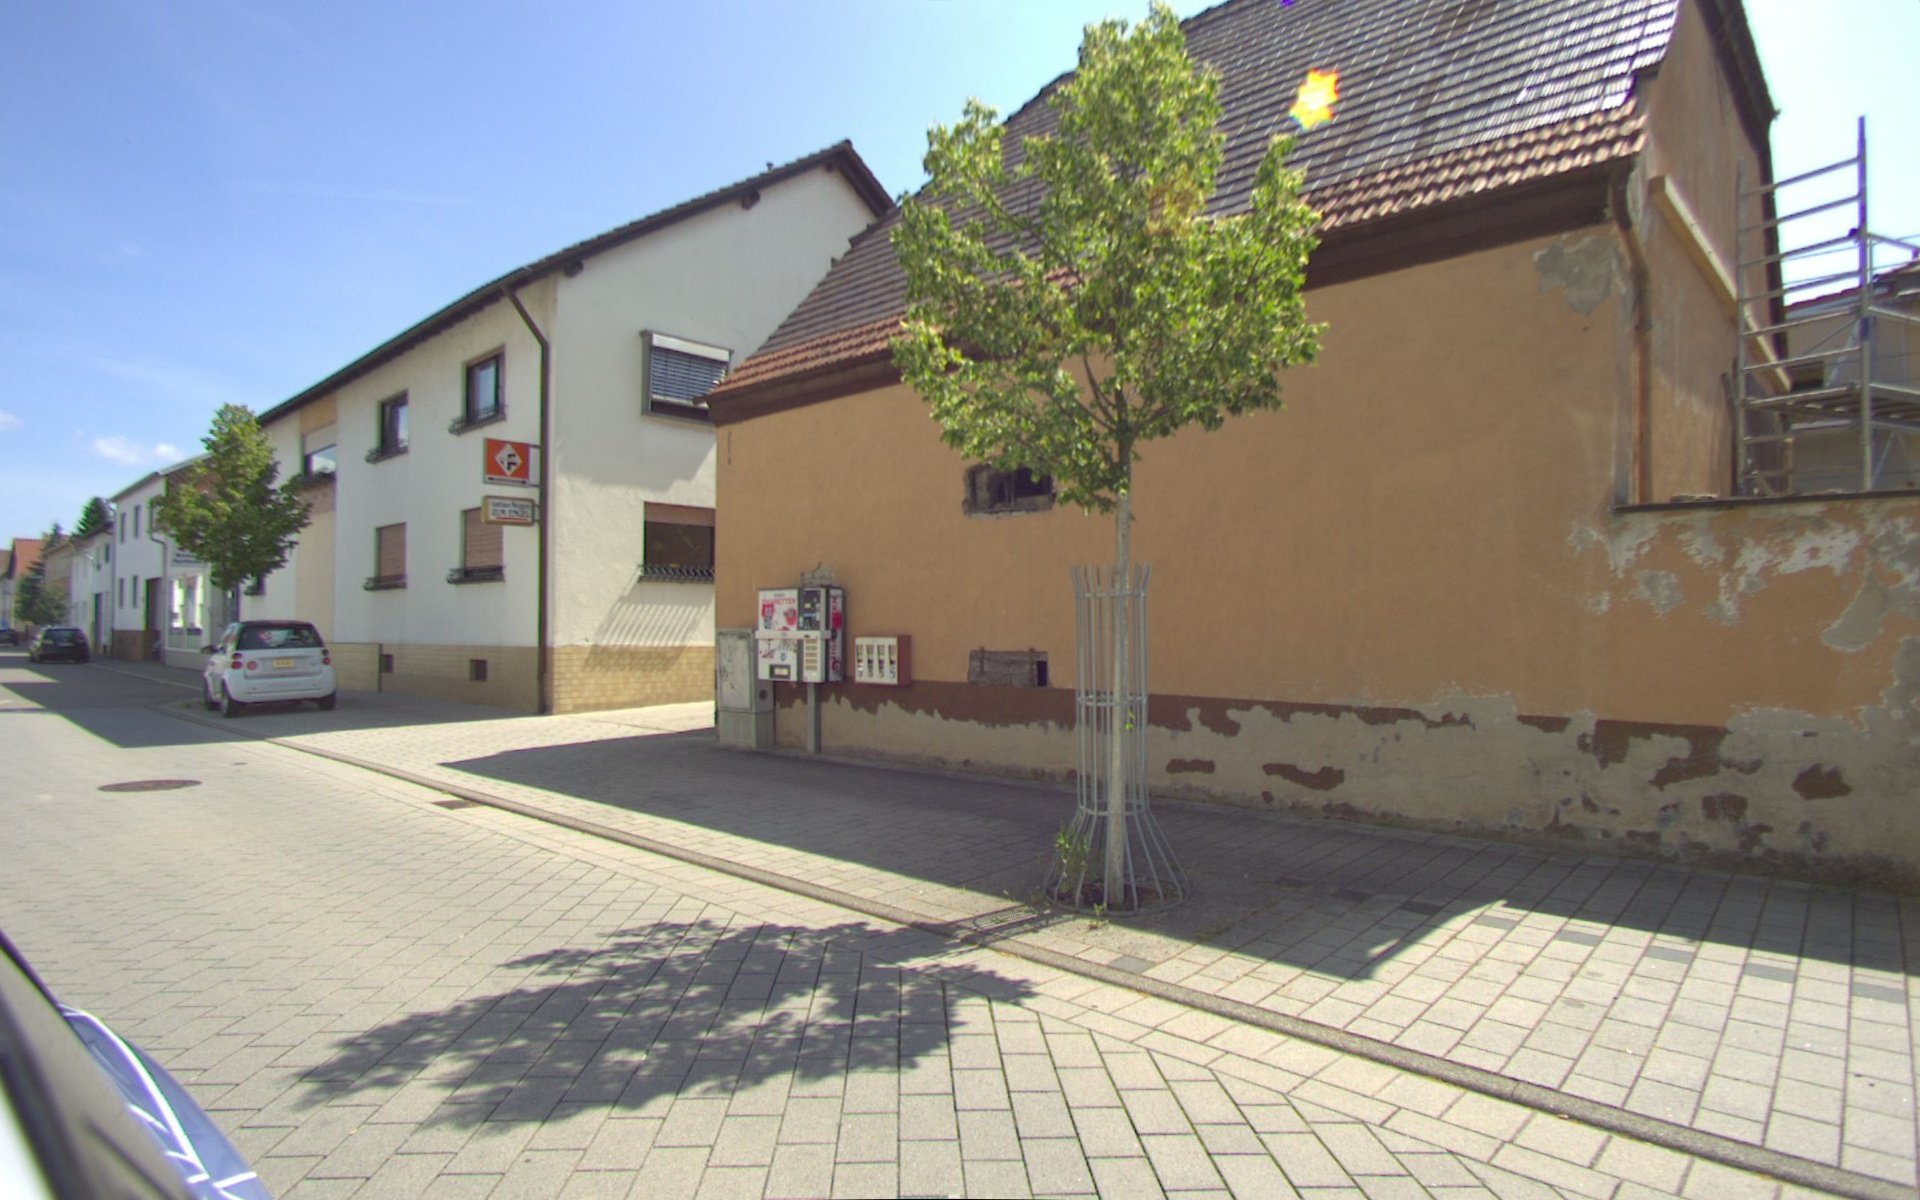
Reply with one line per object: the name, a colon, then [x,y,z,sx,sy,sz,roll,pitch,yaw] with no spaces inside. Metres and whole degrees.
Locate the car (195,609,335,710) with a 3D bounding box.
car: [-12.139,0.972,17.624,1.554,1.573,2.824,-1,0,-44]

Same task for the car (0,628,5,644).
car: [-94.748,3.513,98.819,3.999,1.564,1.830,-2,-3,42]

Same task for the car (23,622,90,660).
car: [-39.456,1.771,44.170,3.954,1.578,1.729,-2,-3,42]

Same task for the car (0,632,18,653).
car: [-79.350,3.482,83.716,4.001,1.711,1.826,-2,-3,44]

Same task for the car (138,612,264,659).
car: [-31.273,1.425,41.758,1.815,1.731,3.941,-2,-1,45]
